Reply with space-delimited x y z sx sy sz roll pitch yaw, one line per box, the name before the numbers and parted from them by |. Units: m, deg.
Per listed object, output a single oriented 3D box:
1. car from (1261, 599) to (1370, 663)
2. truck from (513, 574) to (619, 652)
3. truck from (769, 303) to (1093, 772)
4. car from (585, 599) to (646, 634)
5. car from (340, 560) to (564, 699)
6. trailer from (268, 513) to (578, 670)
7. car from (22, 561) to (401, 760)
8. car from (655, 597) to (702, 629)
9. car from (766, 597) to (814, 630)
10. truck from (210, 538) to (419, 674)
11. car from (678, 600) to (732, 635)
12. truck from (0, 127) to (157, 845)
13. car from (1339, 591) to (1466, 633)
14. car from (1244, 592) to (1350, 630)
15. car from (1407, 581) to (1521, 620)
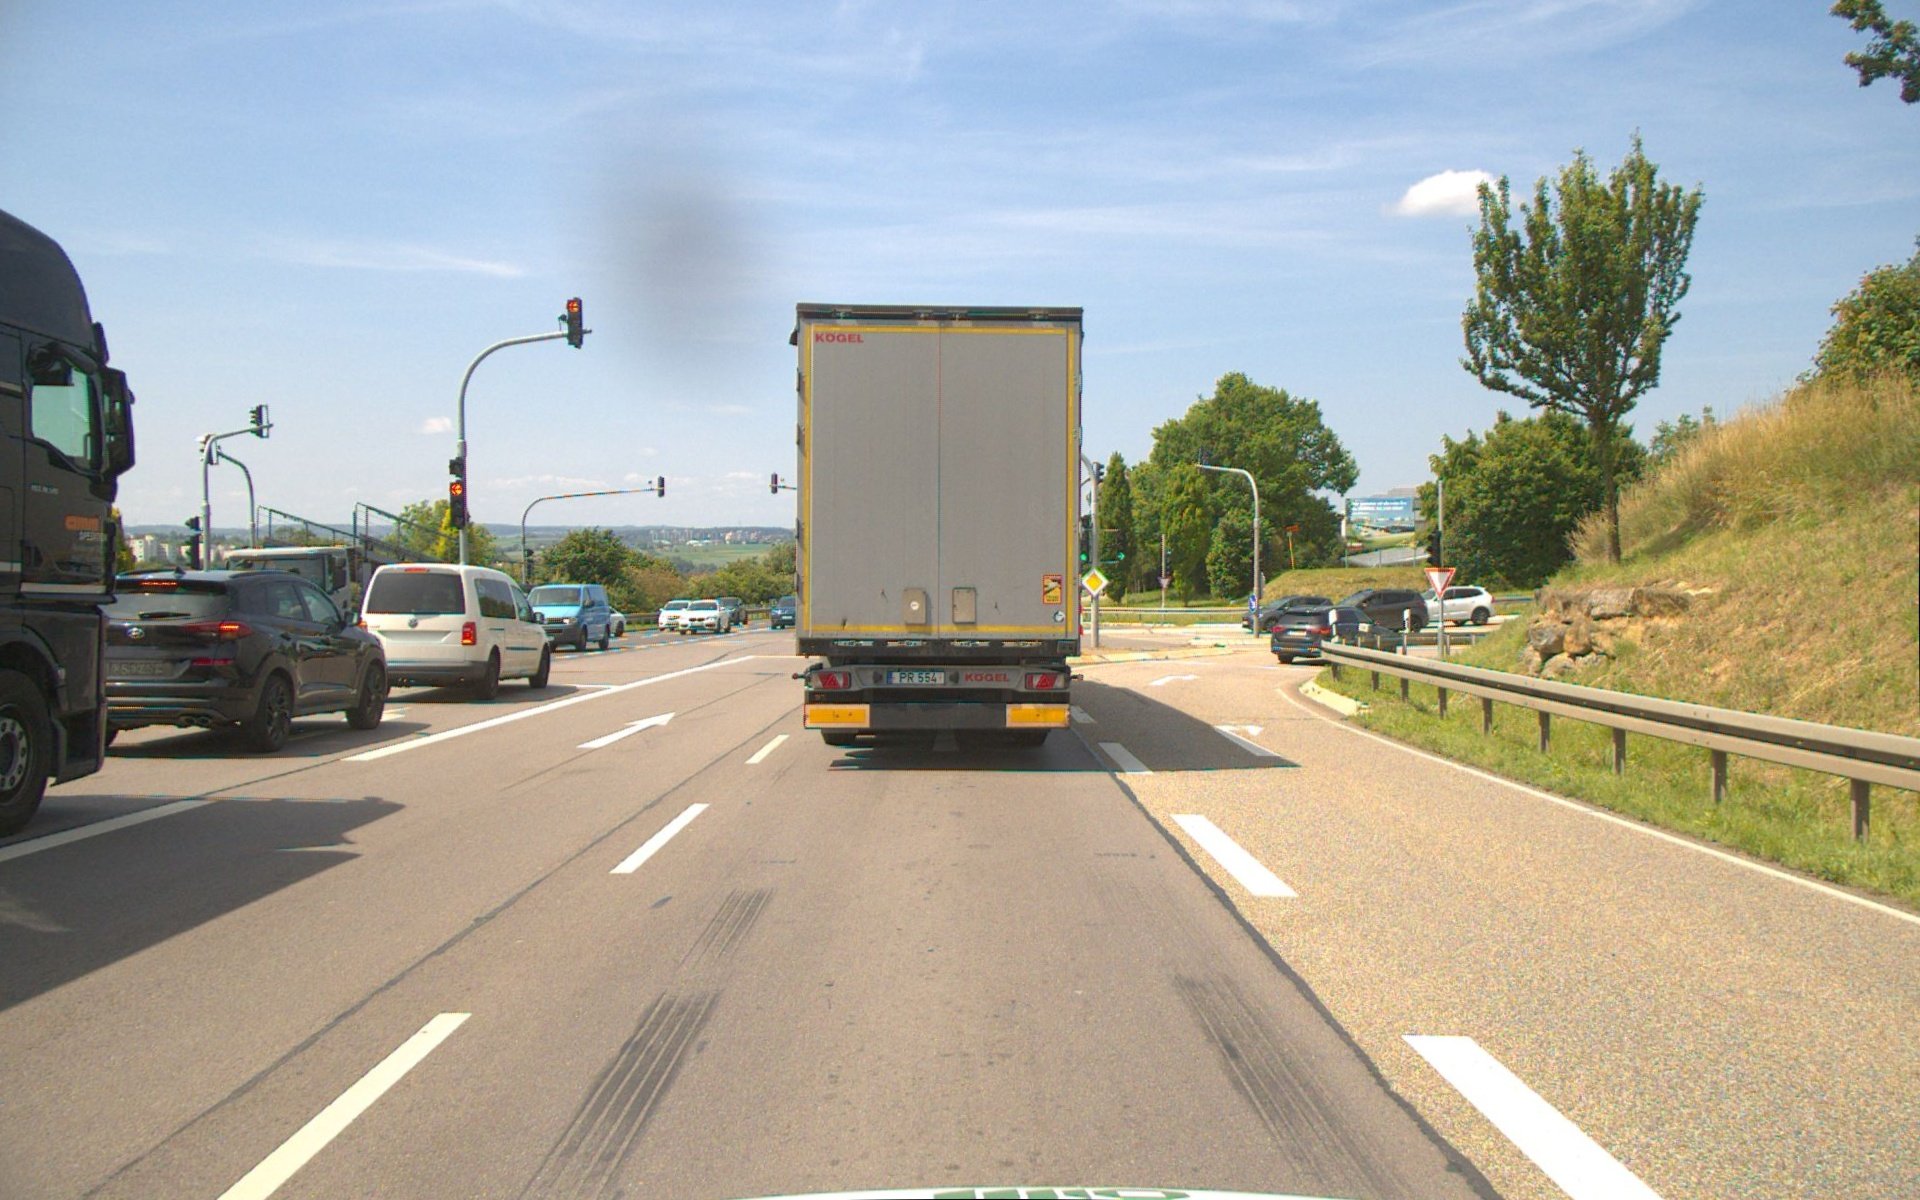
car | 9.284 0.792 42.944 1.712 1.559 4.293 0 -1 27
truck | -11.685 0.379 49.342 1.926 2.195 4.624 -1 -1 1
truck | -0.418 -0.533 19.934 2.743 3.998 11.337 1 0 -2
car | -15.267 0.740 73.493 1.594 1.485 4.495 1 0 2
car | -7.325 0.388 24.370 1.731 1.830 4.752 1 0 1
trailer | -15.469 -0.120 50.488 2.584 3.829 19.801 -1 0 1
car | -7.160 0.515 16.382 1.818 1.686 4.347 1 0 -1
car | -14.301 0.649 84.127 1.610 1.523 3.802 -2 -1 2
car | -8.049 0.642 78.737 1.719 1.494 4.196 2 -1 1
truck | -15.703 0.163 40.719 2.742 3.066 5.989 -1 -1 0
car | -11.214 0.758 72.955 1.736 1.459 3.999 -1 0 0
truck | -6.810 -0.657 8.260 2.727 4.083 5.969 1 0 -1
car | 16.500 0.450 61.769 4.279 1.537 1.712 0 0 -11
car | 13.790 0.454 67.826 3.913 1.537 1.712 0 0 -9
car | 21.232 0.027 69.755 4.278 1.620 1.776 0 0 -9
